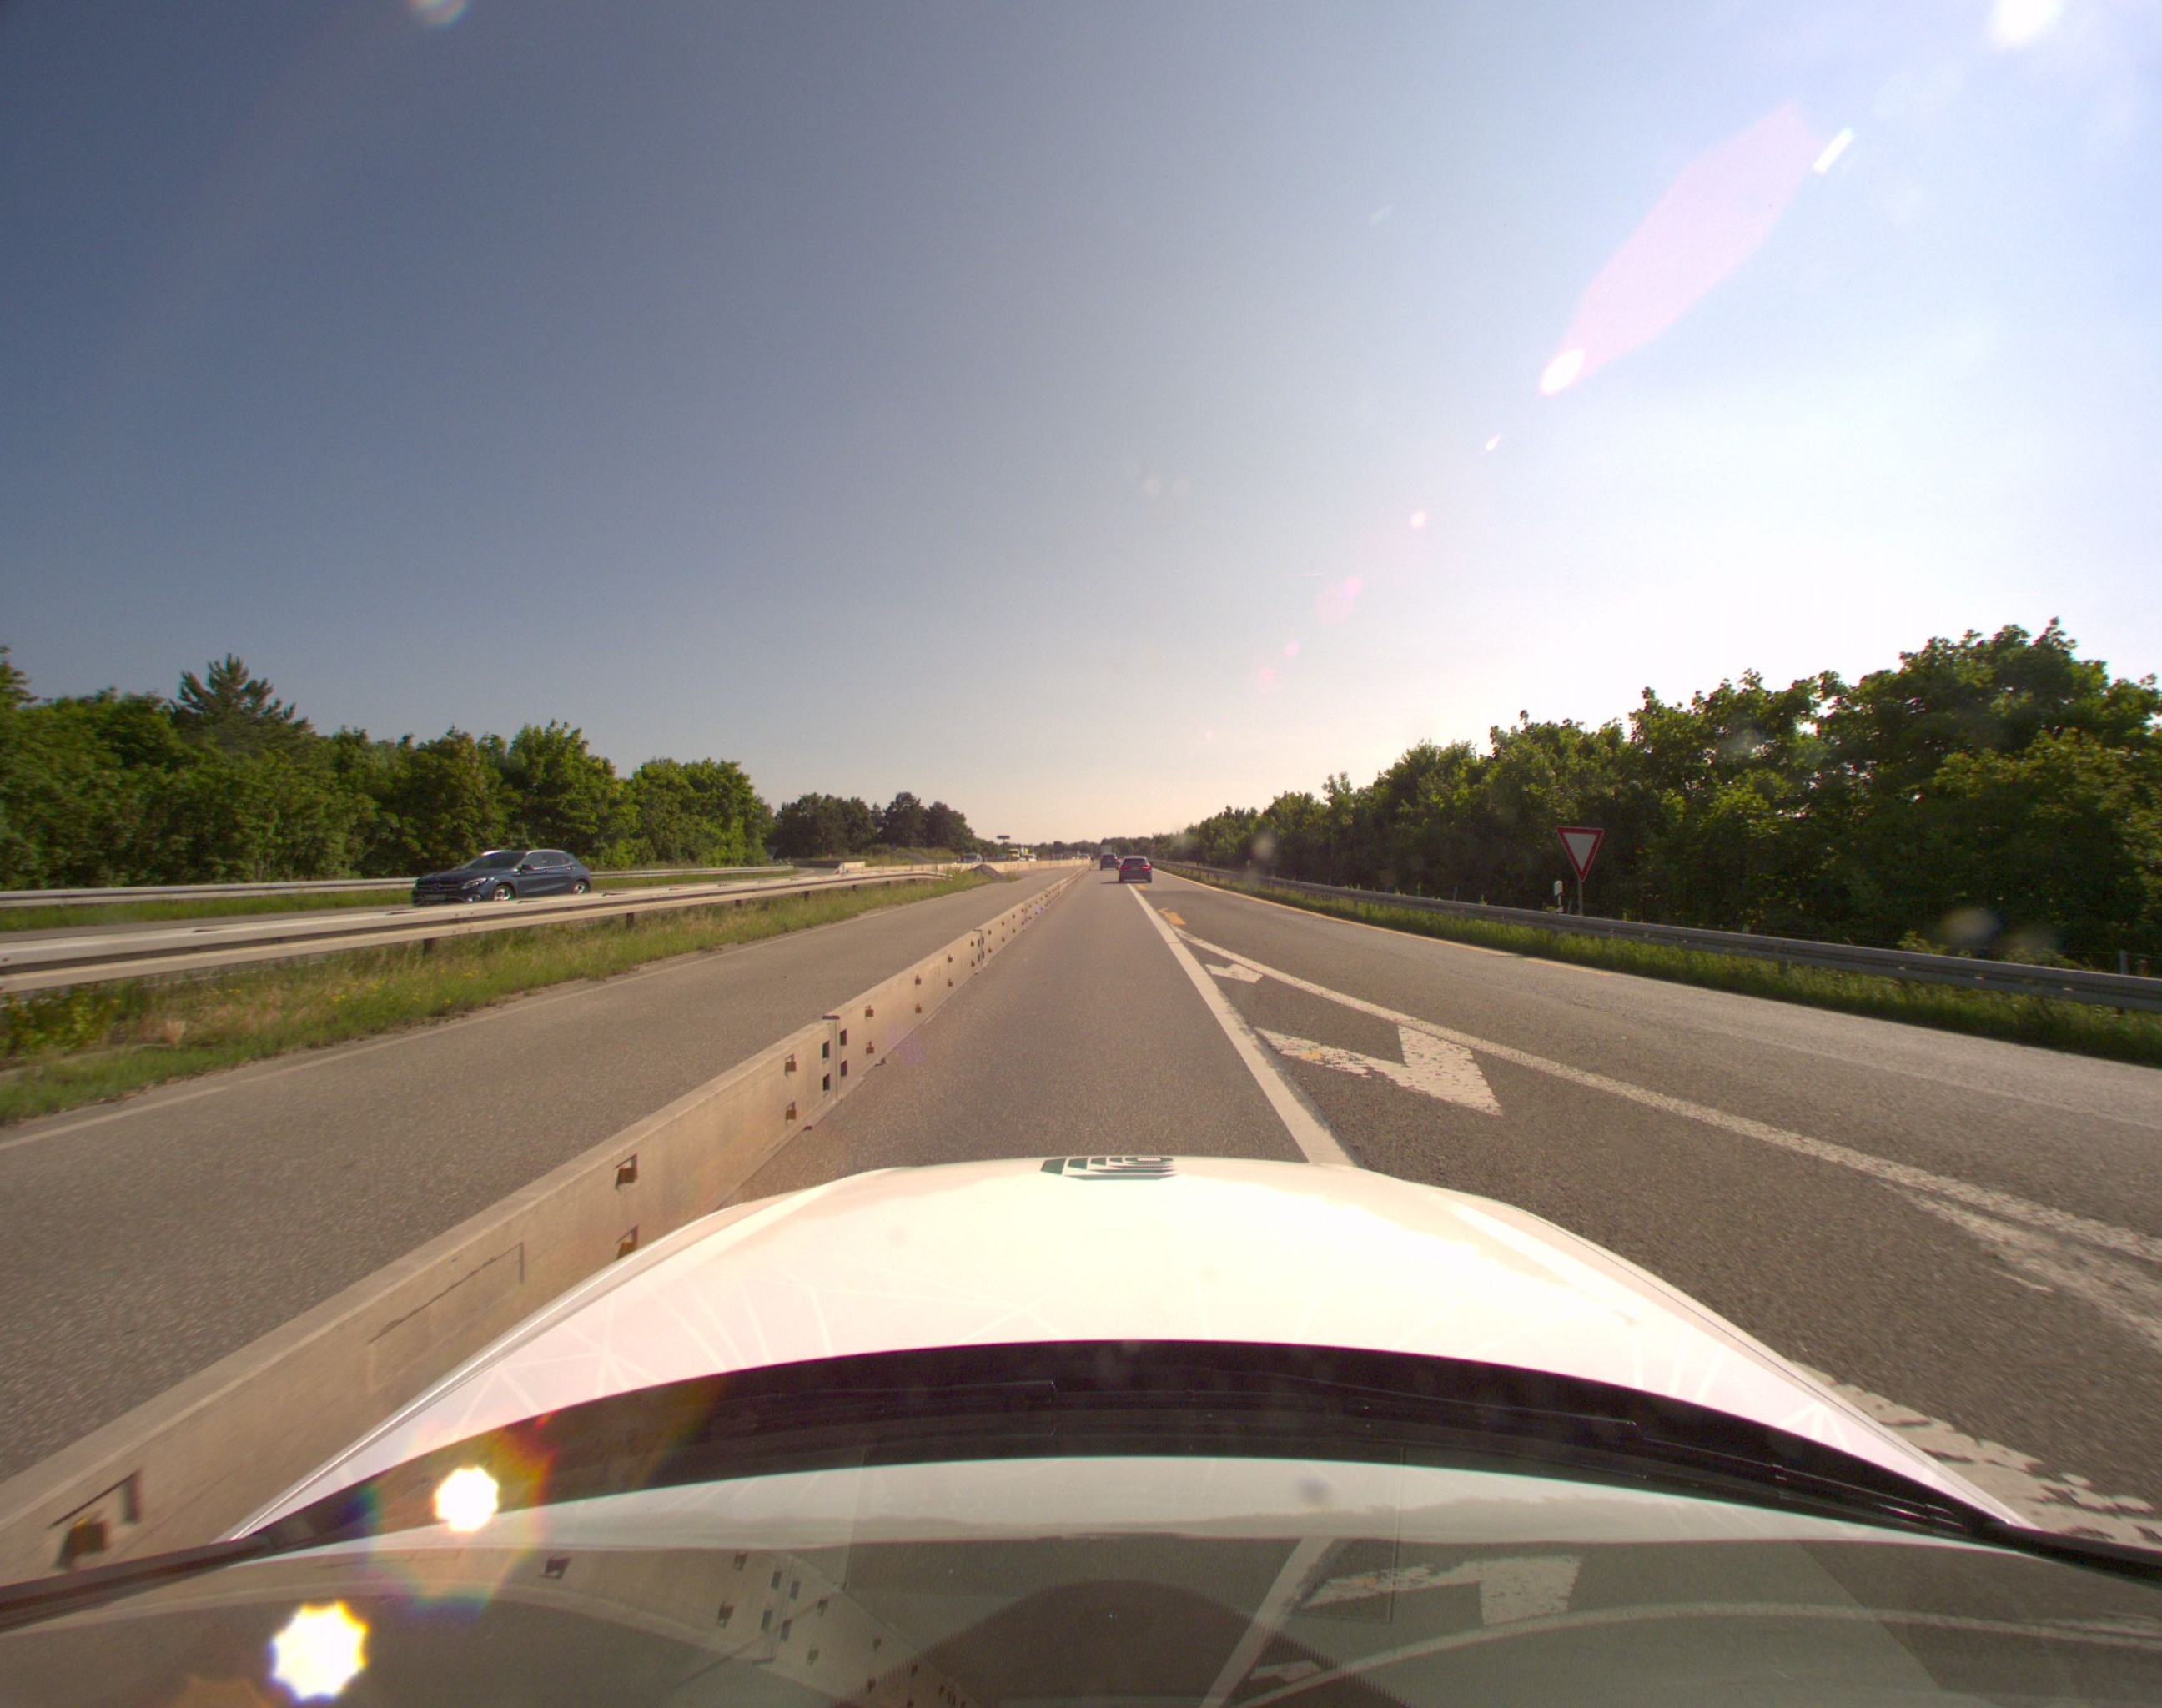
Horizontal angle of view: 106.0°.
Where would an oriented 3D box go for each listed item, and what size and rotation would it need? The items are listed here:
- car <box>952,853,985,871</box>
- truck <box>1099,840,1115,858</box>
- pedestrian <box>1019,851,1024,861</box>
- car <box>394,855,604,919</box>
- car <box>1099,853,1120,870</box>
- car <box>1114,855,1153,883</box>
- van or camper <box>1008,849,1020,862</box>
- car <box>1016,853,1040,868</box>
[{"bbox_3d":[-9.251,0.633,67.268,1.832,1.440,4.816,-1,0,3],"label":"car"},{"bbox_3d":[7.357,-1.298,233.139,3.751,4.911,14.126,0,0,-2],"label":"truck"},{"bbox_3d":[-11.091,0.366,152.378,0.741,1.820,0.794,1,0,-10],"label":"pedestrian"},{"bbox_3d":[-14.286,0.735,20.390,1.789,1.434,4.595,0,0,3],"label":"car"},{"bbox_3d":[2.776,0.730,79.166,1.986,1.567,4.003,-1,0,2],"label":"car"},{"bbox_3d":[2.822,0.787,44.786,1.914,1.494,4.000,0,0,1],"label":"car"},{"bbox_3d":[-12.818,0.265,156.034,1.990,2.378,6.192,-2,0,-4],"label":"van or camper"},{"bbox_3d":[-6.035,0.715,93.061,1.807,1.608,4.448,-1,0,8],"label":"car"}]
